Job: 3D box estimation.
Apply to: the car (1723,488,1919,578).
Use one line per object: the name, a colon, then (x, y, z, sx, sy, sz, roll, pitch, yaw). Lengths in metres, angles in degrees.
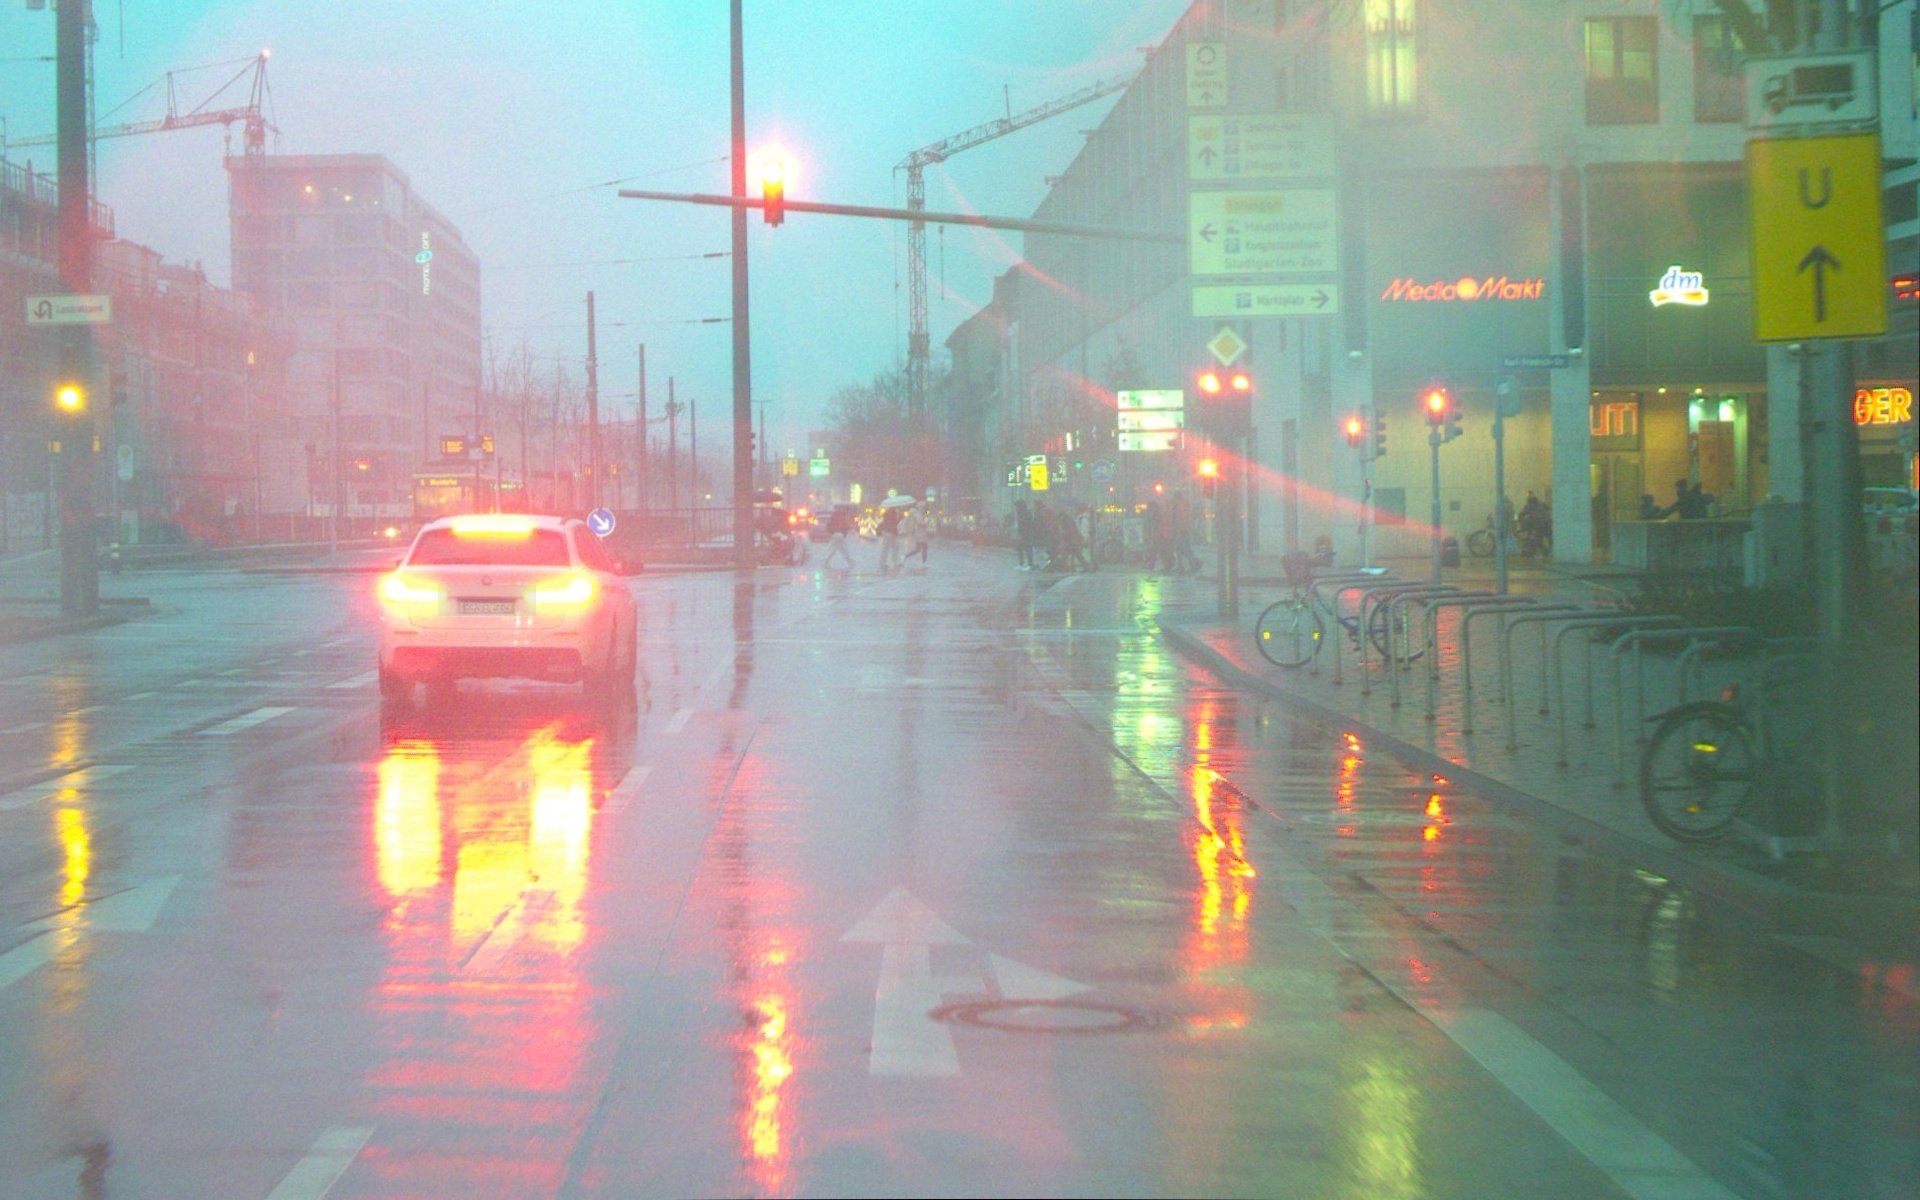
car: (17.769, -1.367, 69.593, 4.303, 1.755, 1.707, -1, 2, 4)

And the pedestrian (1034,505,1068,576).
pedestrian: (2.106, -1.377, 79.648, 0.706, 1.613, 0.613, -1, 1, -2)

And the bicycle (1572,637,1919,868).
bicycle: (3.851, 0.704, 16.152, 1.787, 0.970, 0.618, -2, 1, -4)

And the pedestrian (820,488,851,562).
pedestrian: (-2.987, -1.805, 82.593, 0.702, 1.754, 0.667, -1, 1, 0)

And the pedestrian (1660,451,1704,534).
pedestrian: (14.069, -2.086, 66.956, 0.781, 1.590, 0.612, -1, 1, 16)

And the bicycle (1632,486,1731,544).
bicycle: (14.058, -1.655, 66.977, 1.846, 1.089, 0.617, -1, 1, 16)

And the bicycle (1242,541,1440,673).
bicycle: (3.581, 0.060, 32.342, 1.750, 1.144, 0.436, -3, 1, -4)

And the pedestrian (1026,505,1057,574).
pedestrian: (1.918, -1.419, 80.895, 0.706, 1.613, 0.680, -1, 1, 2)

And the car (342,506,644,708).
car: (-3.799, -0.005, 28.770, 1.909, 1.515, 4.924, -1, 1, -1)

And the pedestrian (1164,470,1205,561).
pedestrian: (5.200, -1.955, 79.518, 0.686, 2.080, 0.613, -2, 2, -39)
